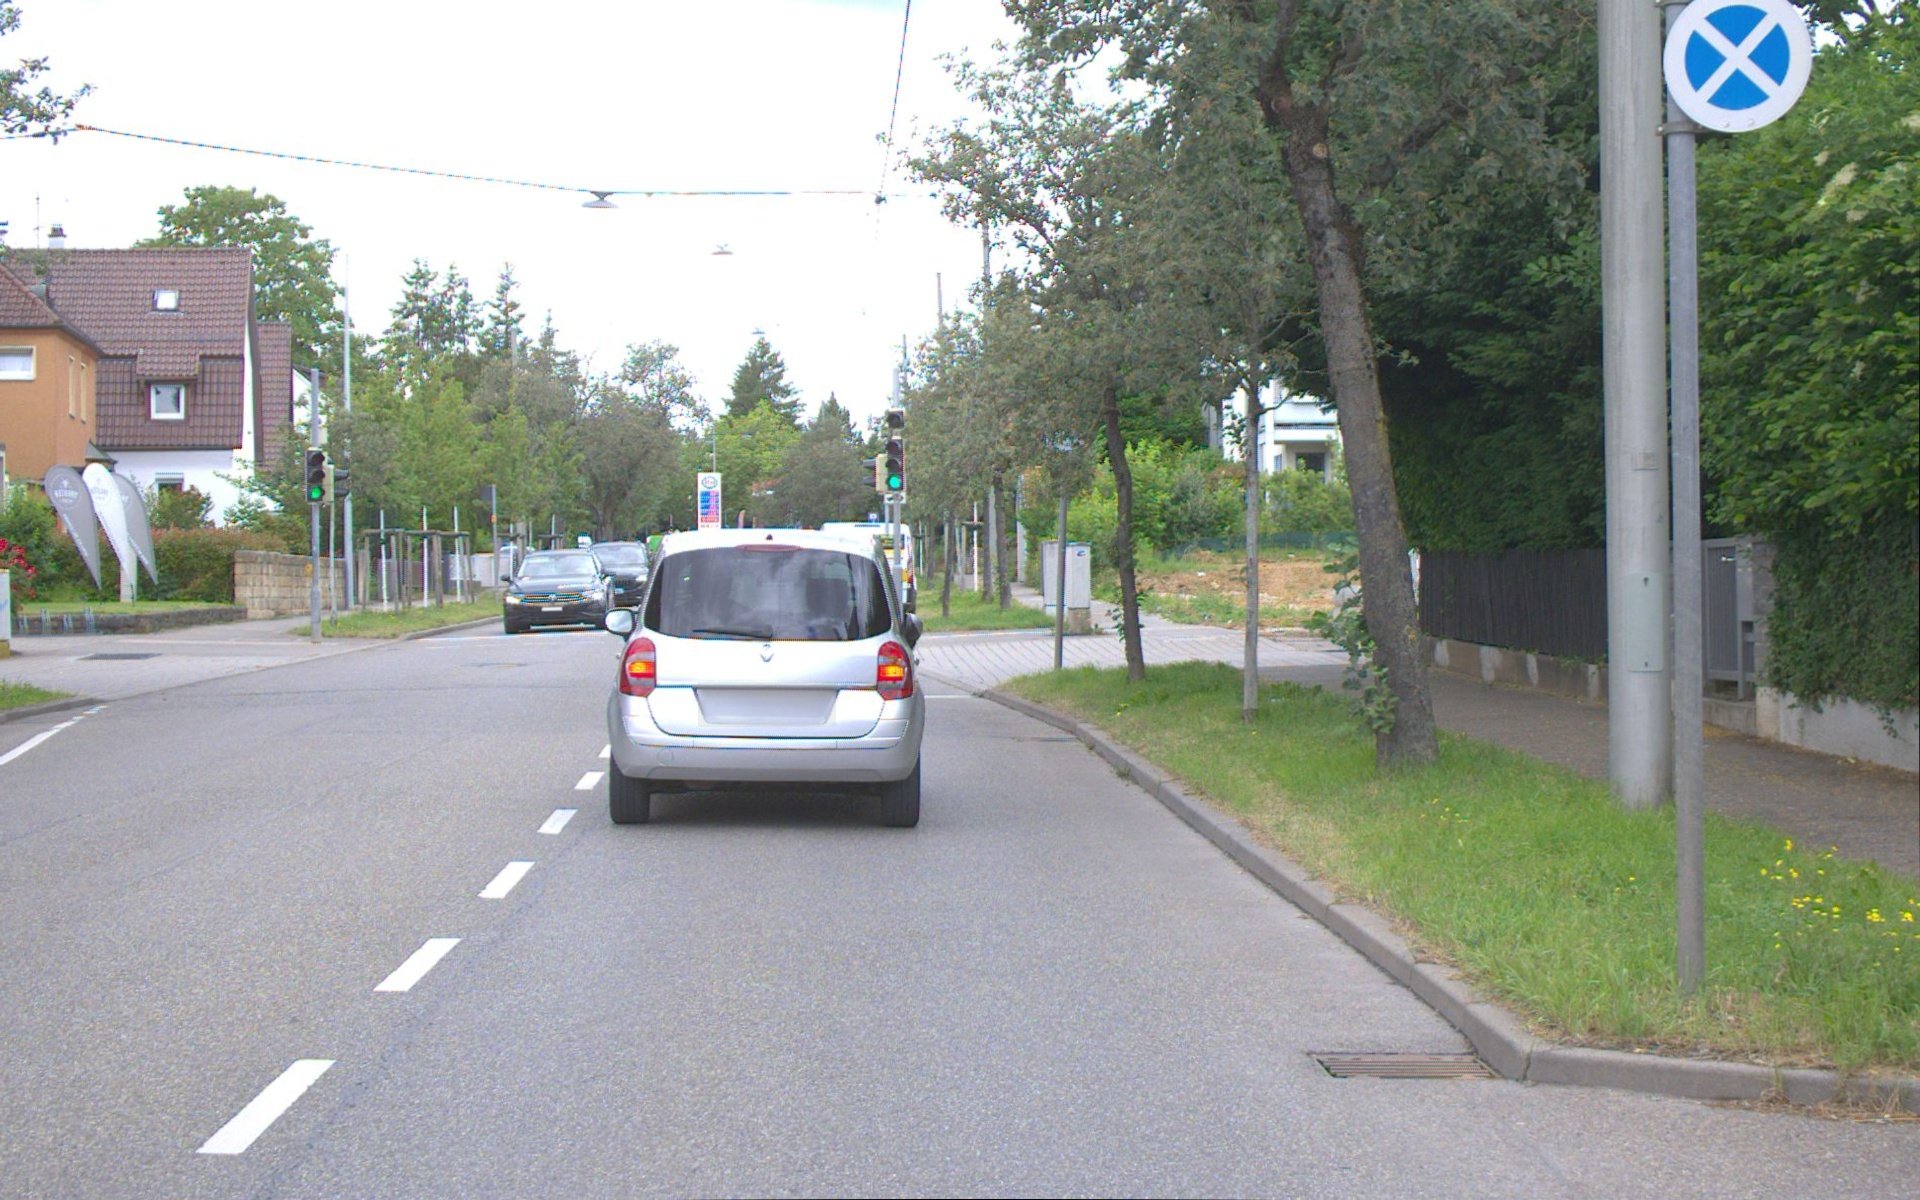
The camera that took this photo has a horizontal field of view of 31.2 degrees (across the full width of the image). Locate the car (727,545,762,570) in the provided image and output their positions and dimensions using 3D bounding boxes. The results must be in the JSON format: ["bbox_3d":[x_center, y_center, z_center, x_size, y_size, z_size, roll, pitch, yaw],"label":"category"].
[{"bbox_3d":[-13.286,-2.640,211.939,1.695,1.501,3.974,0,1,-11],"label":"car"}]

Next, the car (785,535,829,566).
[{"bbox_3d":[-7.370,-2.399,165.353,1.626,1.447,3.877,-1,1,-9],"label":"car"}]

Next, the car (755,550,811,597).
[{"bbox_3d":[-6.757,-1.018,131.087,1.835,1.708,4.001,-2,1,-6],"label":"car"}]

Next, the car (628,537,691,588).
[{"bbox_3d":[-9.337,-1.180,107.041,1.616,1.467,4.000,-3,1,-1],"label":"car"}]

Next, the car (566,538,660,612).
[{"bbox_3d":[-7.787,-0.584,77.405,1.895,1.619,4.001,-1,1,-3],"label":"car"}]

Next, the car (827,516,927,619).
[{"bbox_3d":[-1.654,-0.657,67.247,1.775,1.937,4.789,1,1,-3],"label":"car"}]

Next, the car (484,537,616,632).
[{"bbox_3d":[-7.335,-0.309,61.893,1.993,1.615,4.648,-1,1,-3],"label":"car"}]

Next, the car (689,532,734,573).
[{"bbox_3d":[-10.791,-2.078,149.364,1.813,1.687,4.466,-2,1,-3],"label":"car"}]

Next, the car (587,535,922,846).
[{"bbox_3d":[-1.116,0.431,19.235,1.679,1.554,3.512,1,1,-2],"label":"car"}]
